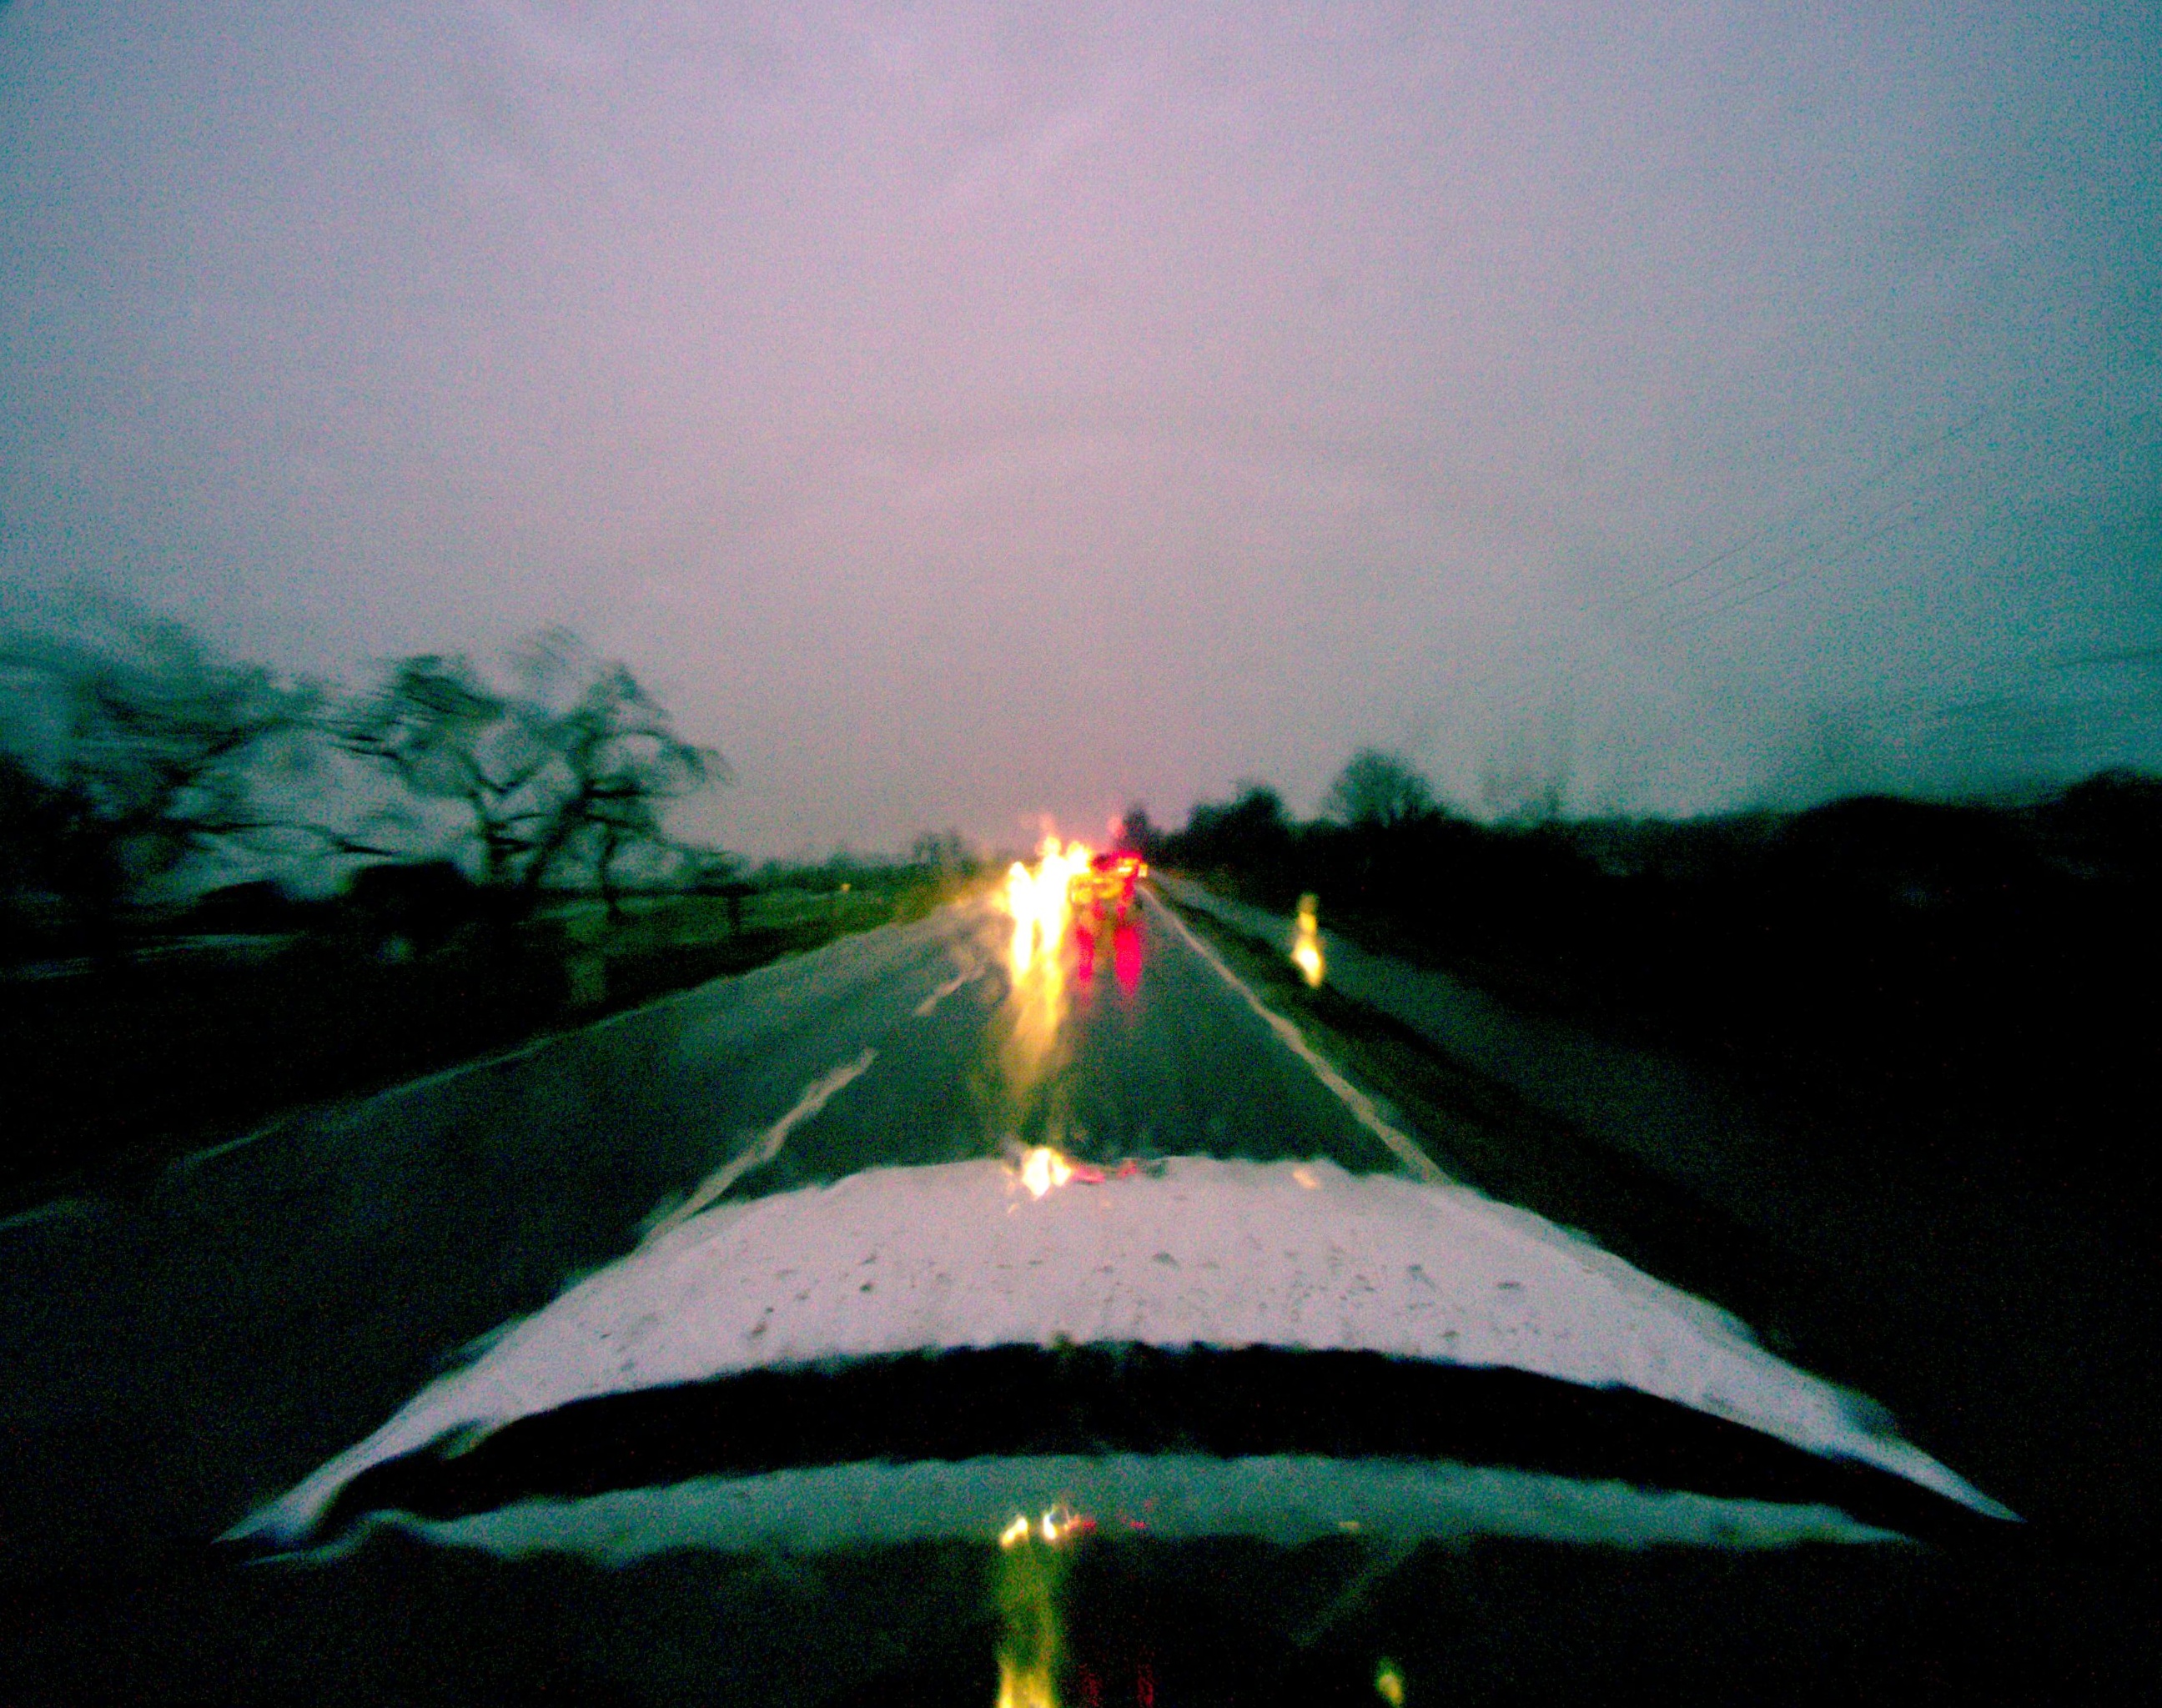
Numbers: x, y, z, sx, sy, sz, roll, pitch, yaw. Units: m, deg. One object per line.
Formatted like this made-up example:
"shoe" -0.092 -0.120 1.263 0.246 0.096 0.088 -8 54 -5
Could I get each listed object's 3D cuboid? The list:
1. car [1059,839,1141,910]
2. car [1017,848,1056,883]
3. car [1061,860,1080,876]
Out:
"car" 0.590 0.534 23.960 2.112 1.820 4.982 -1 0 2
"car" -2.462 0.603 46.026 1.818 1.806 4.495 -3 0 1
"car" -1.037 1.384 81.114 1.682 1.479 3.775 -3 0 2
